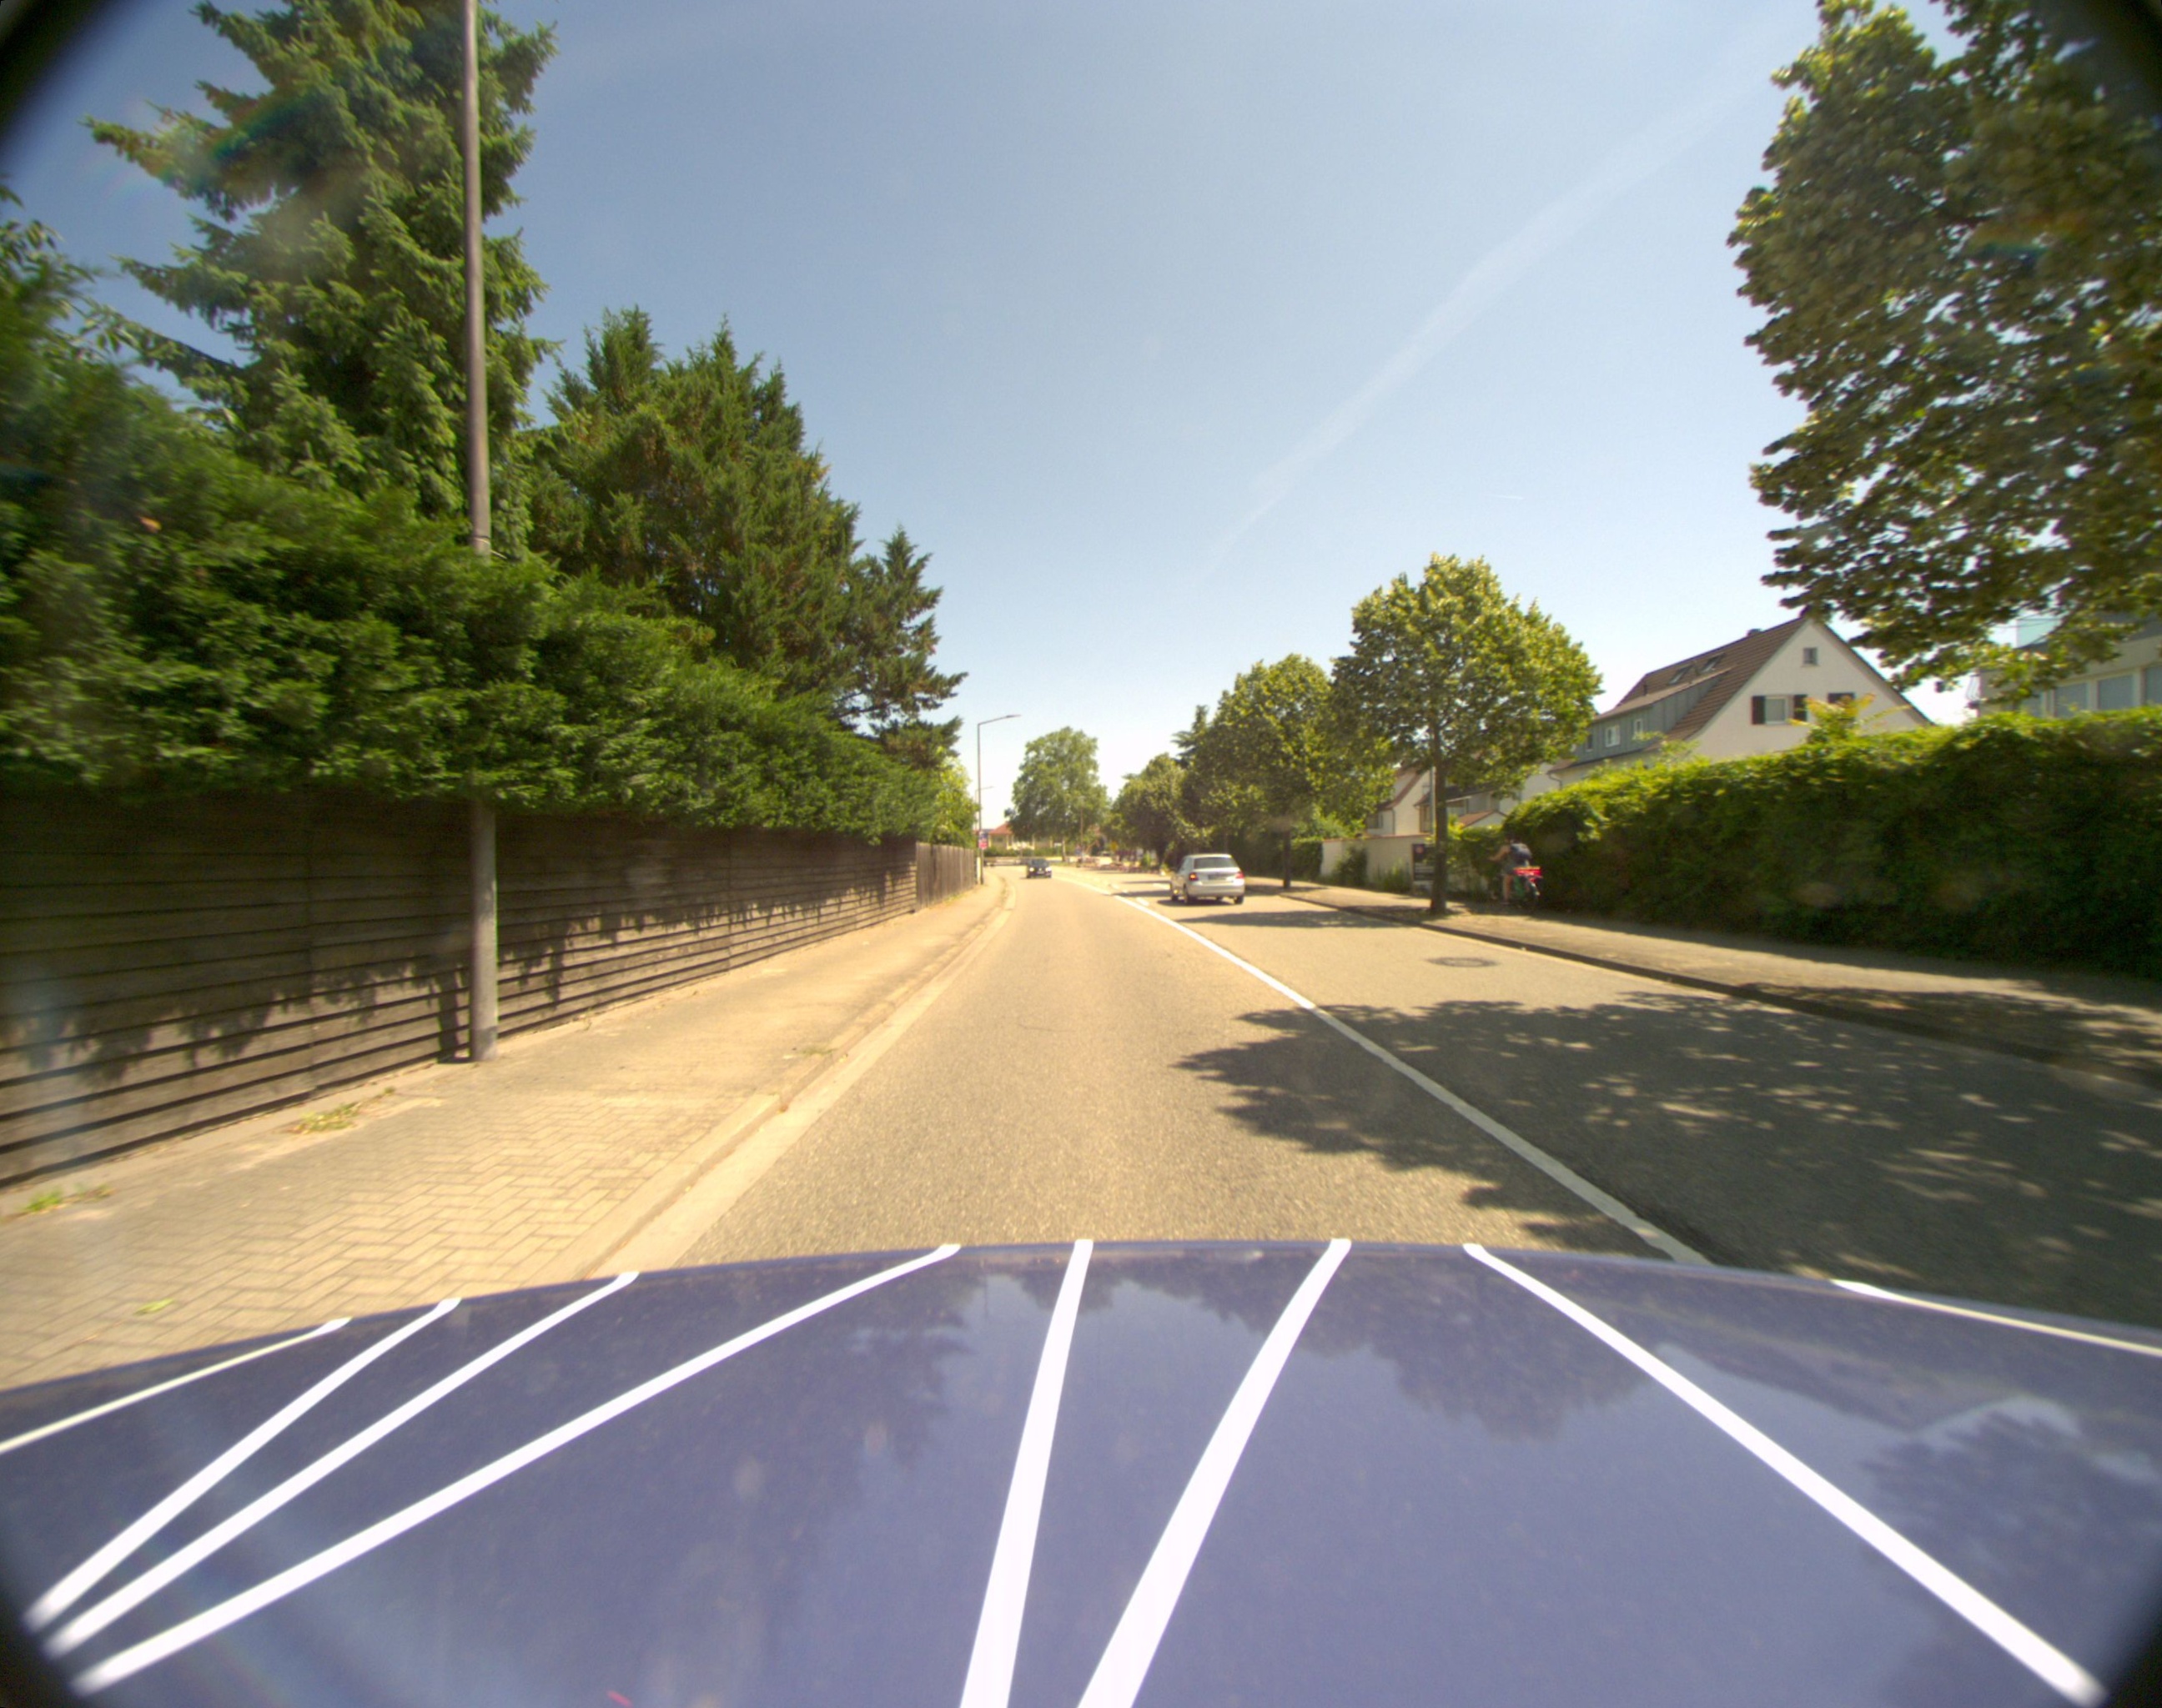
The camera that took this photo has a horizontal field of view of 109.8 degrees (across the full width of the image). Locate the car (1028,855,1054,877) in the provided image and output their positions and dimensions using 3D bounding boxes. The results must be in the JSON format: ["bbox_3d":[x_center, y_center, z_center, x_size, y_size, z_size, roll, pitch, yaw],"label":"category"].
[{"bbox_3d":[-2.944,0.834,55.220,1.608,1.436,3.907,-3,1,-6],"label":"car"}]

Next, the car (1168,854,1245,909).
[{"bbox_3d":[3.707,0.768,22.932,1.616,1.474,3.706,-2,0,-1],"label":"car"}]

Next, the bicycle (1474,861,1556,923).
[{"bbox_3d":[8.890,0.741,15.659,0.634,1.173,1.815,-1,0,0],"label":"bicycle"}]

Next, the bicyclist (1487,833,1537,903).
[{"bbox_3d":[8.884,0.276,15.674,0.630,1.400,0.676,-1,1,-1],"label":"bicyclist"}]

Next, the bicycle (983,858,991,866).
[{"bbox_3d":[-13.115,1.096,106.034,0.853,1.159,1.975,-1,0,-13],"label":"bicycle"}]

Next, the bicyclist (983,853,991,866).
[{"bbox_3d":[-13.119,0.747,106.024,0.849,1.854,0.975,-1,0,-13],"label":"bicyclist"}]
